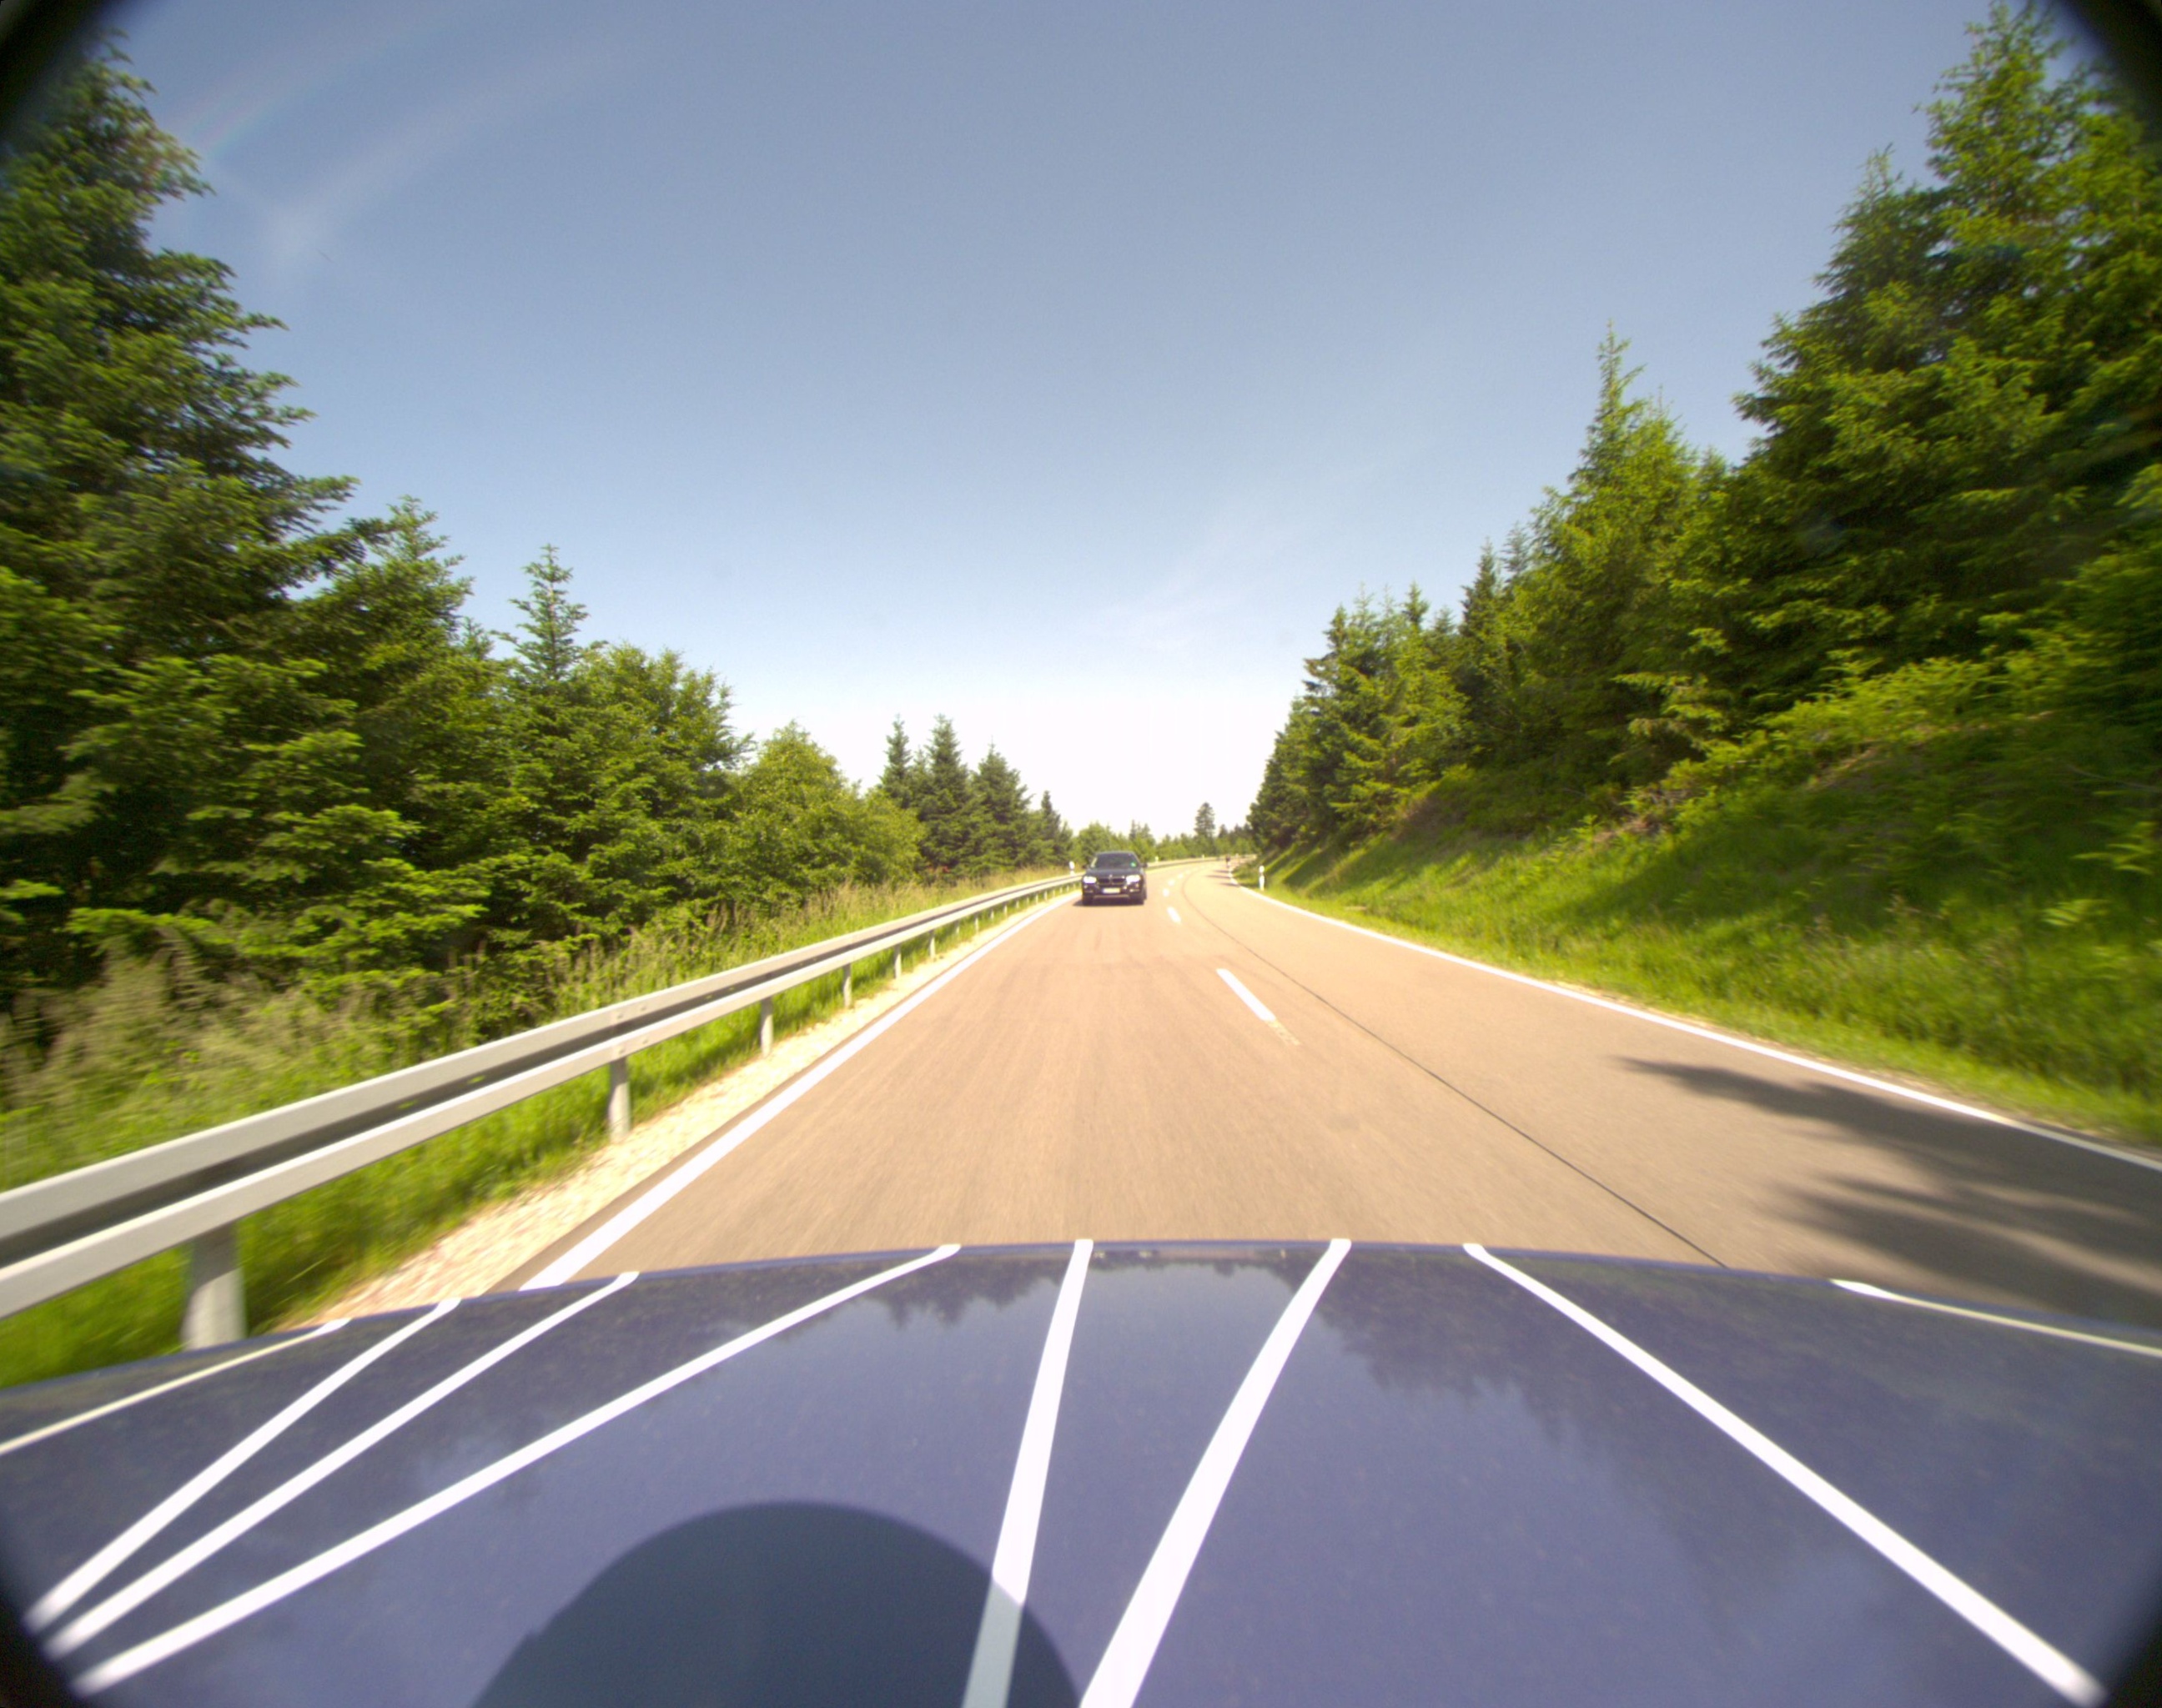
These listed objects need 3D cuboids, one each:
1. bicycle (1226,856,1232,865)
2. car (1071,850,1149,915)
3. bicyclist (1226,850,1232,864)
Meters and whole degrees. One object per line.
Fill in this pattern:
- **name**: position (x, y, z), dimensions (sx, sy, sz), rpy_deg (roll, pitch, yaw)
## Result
- **bicycle**: position (15.127, 0.703, 77.699), dimensions (0.554, 0.881, 2.064), rpy_deg (0, 1, 11)
- **car**: position (1.052, 0.773, 23.871), dimensions (1.997, 1.677, 5.938), rpy_deg (-1, 1, 6)
- **bicyclist**: position (15.167, 0.288, 77.785), dimensions (0.542, 1.442, 0.984), rpy_deg (0, 1, 11)
